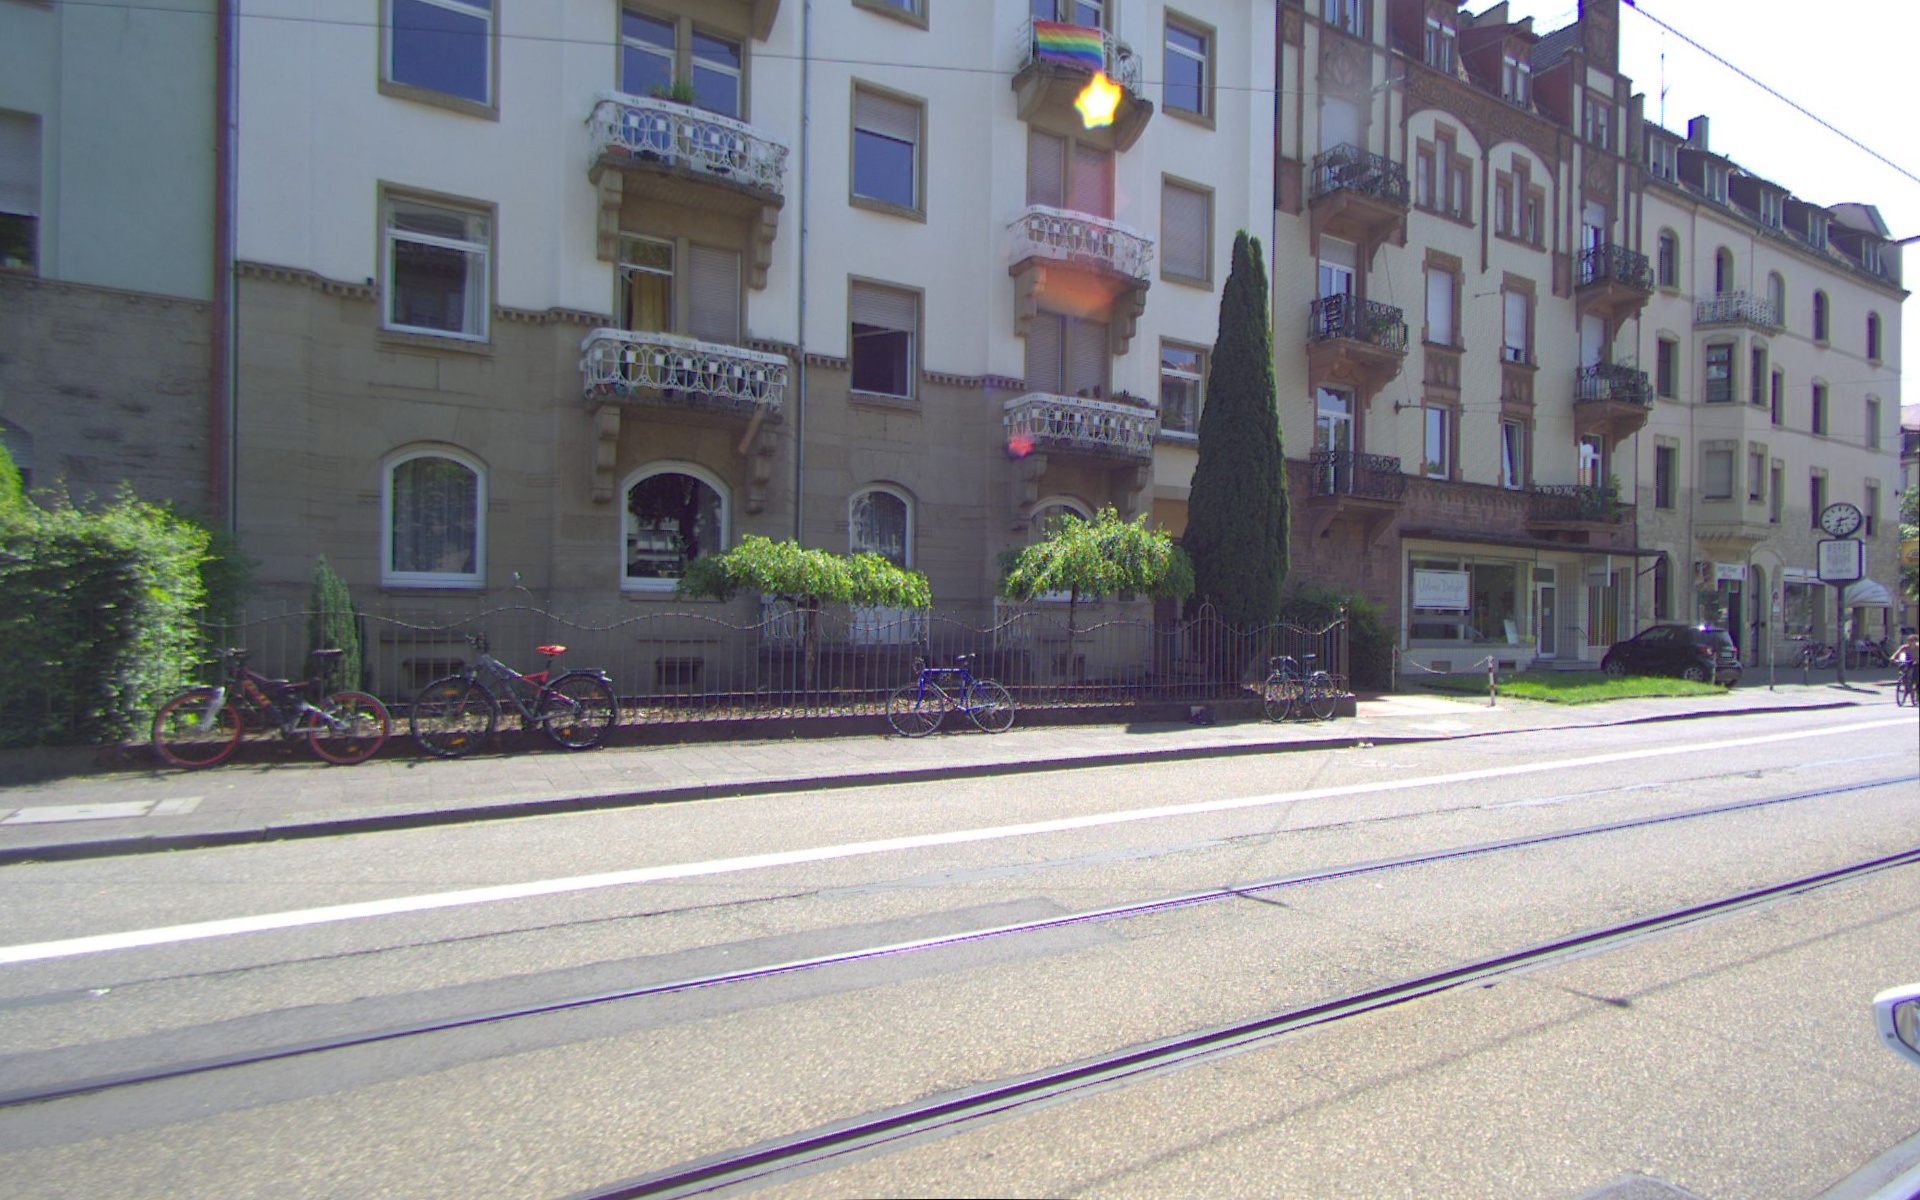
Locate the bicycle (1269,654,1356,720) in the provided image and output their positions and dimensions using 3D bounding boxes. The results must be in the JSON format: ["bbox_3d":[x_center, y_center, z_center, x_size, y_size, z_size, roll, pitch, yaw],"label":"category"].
[{"bbox_3d":[5.298,1.288,15.053,1.596,0.929,0.251,1,0,-31],"label":"bicycle"}]

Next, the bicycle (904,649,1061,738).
[{"bbox_3d":[0.294,1.092,12.060,1.932,0.961,0.459,1,0,-31],"label":"bicycle"}]

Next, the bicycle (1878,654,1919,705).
[{"bbox_3d":[22.122,1.820,23.290,2.161,1.088,0.641,1,-1,-31],"label":"bicycle"}]

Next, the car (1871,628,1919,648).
[{"bbox_3d":[74.580,3.022,79.440,1.512,1.461,3.738,2,0,-5],"label":"car"}]

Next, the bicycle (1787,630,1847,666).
[{"bbox_3d":[30.959,1.737,36.274,2.043,1.241,0.454,2,0,-11],"label":"bicycle"}]

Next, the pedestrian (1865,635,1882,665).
[{"bbox_3d":[35.823,1.958,39.383,0.401,1.164,0.403,2,0,-33],"label":"pedestrian"}]

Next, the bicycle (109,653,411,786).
[{"bbox_3d":[-5.766,0.957,8.415,2.023,0.983,0.397,1,0,-31],"label":"bicycle"}]

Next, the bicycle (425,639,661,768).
[{"bbox_3d":[-3.931,0.941,9.554,2.023,1.111,0.490,1,0,-31],"label":"bicycle"}]

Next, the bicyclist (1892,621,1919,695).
[{"bbox_3d":[22.139,1.329,23.314,0.573,1.685,0.607,1,-1,-30],"label":"bicyclist"}]

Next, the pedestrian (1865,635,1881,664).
[{"bbox_3d":[35.073,1.886,38.582,0.401,1.103,0.352,2,0,-33],"label":"pedestrian"}]

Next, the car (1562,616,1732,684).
[{"bbox_3d":[17.892,1.268,26.315,1.509,1.491,3.342,2,1,-26],"label":"car"}]
